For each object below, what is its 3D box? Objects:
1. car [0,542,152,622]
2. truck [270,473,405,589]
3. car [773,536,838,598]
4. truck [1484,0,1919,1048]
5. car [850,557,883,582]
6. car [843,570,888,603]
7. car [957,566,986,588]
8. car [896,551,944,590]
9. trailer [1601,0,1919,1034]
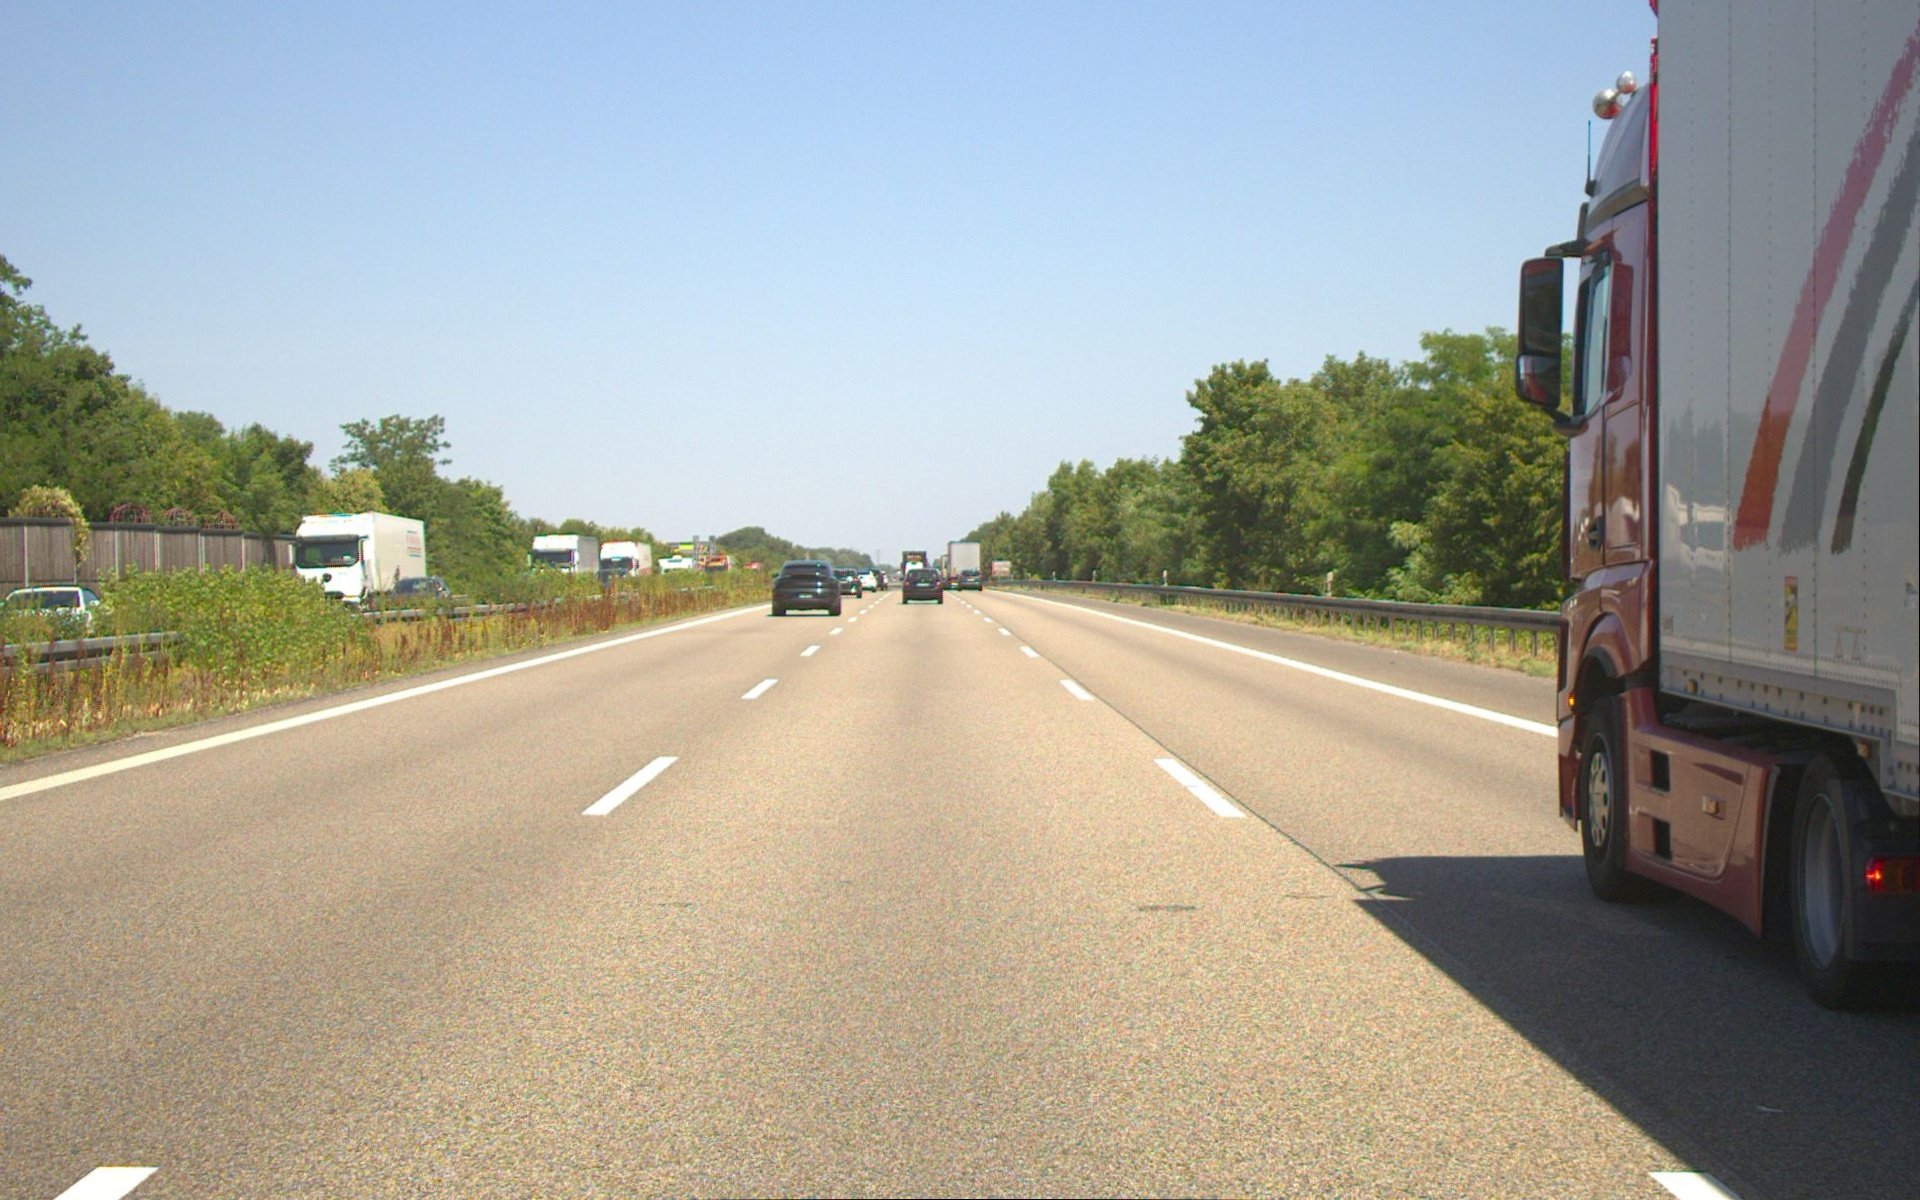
[{"bbox_3d":[-16.198,-0.342,62.959,1.777,1.407,4.499,0,1,0],"label":"car"},{"bbox_3d":[-23.063,-2.538,127.803,3.581,4.089,7.839,-1,1,0],"label":"truck"},{"bbox_3d":[-4.590,-1.009,102.610,1.880,1.786,4.001,0,2,-2],"label":"car"},{"bbox_3d":[4.283,-1.157,13.850,3.234,4.872,6.972,0,1,0],"label":"truck"},{"bbox_3d":[-6.299,-2.027,231.202,2.128,1.640,4.304,-1,0,-2],"label":"car"},{"bbox_3d":[-4.788,-0.686,174.132,2.128,1.640,4.304,-1,0,0],"label":"car"},{"bbox_3d":[0.865,-1.738,257.147,2.128,1.578,4.304,-1,0,0],"label":"car"},{"bbox_3d":[-1.637,-1.205,140.926,1.903,1.578,4.304,-1,0,0],"label":"car"},{"bbox_3d":[4.301,-1.150,7.123,3.269,4.821,14.030,0,1,0],"label":"trailer"}]
